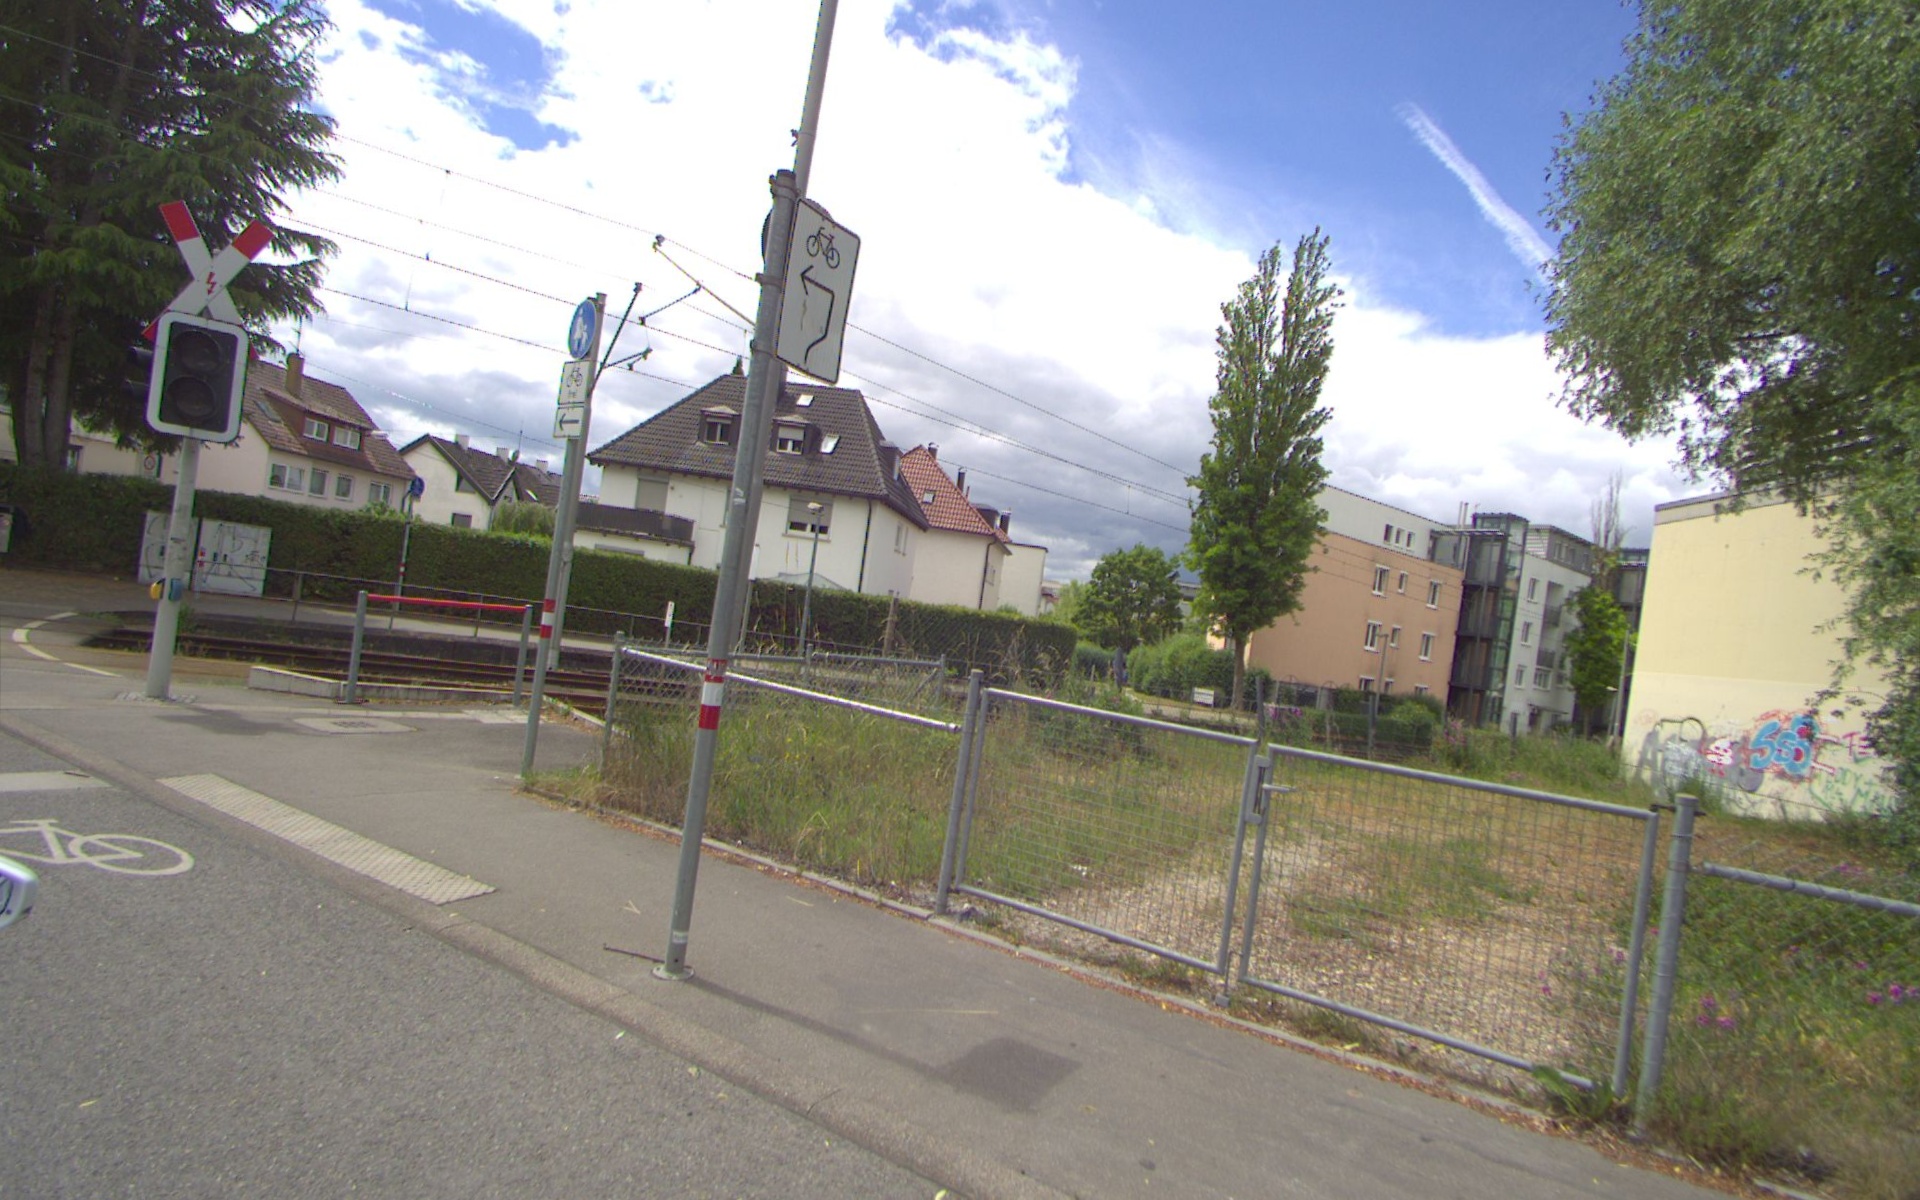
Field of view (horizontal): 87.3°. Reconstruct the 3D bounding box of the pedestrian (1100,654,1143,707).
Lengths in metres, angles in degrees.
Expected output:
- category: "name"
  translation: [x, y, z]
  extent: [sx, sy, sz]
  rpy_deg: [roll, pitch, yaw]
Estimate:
- category: "pedestrian"
  translation: [5.621, 2.803, 35.109]
  extent: [0.910, 1.707, 0.925]
  rpy_deg: [7, 0, -31]
